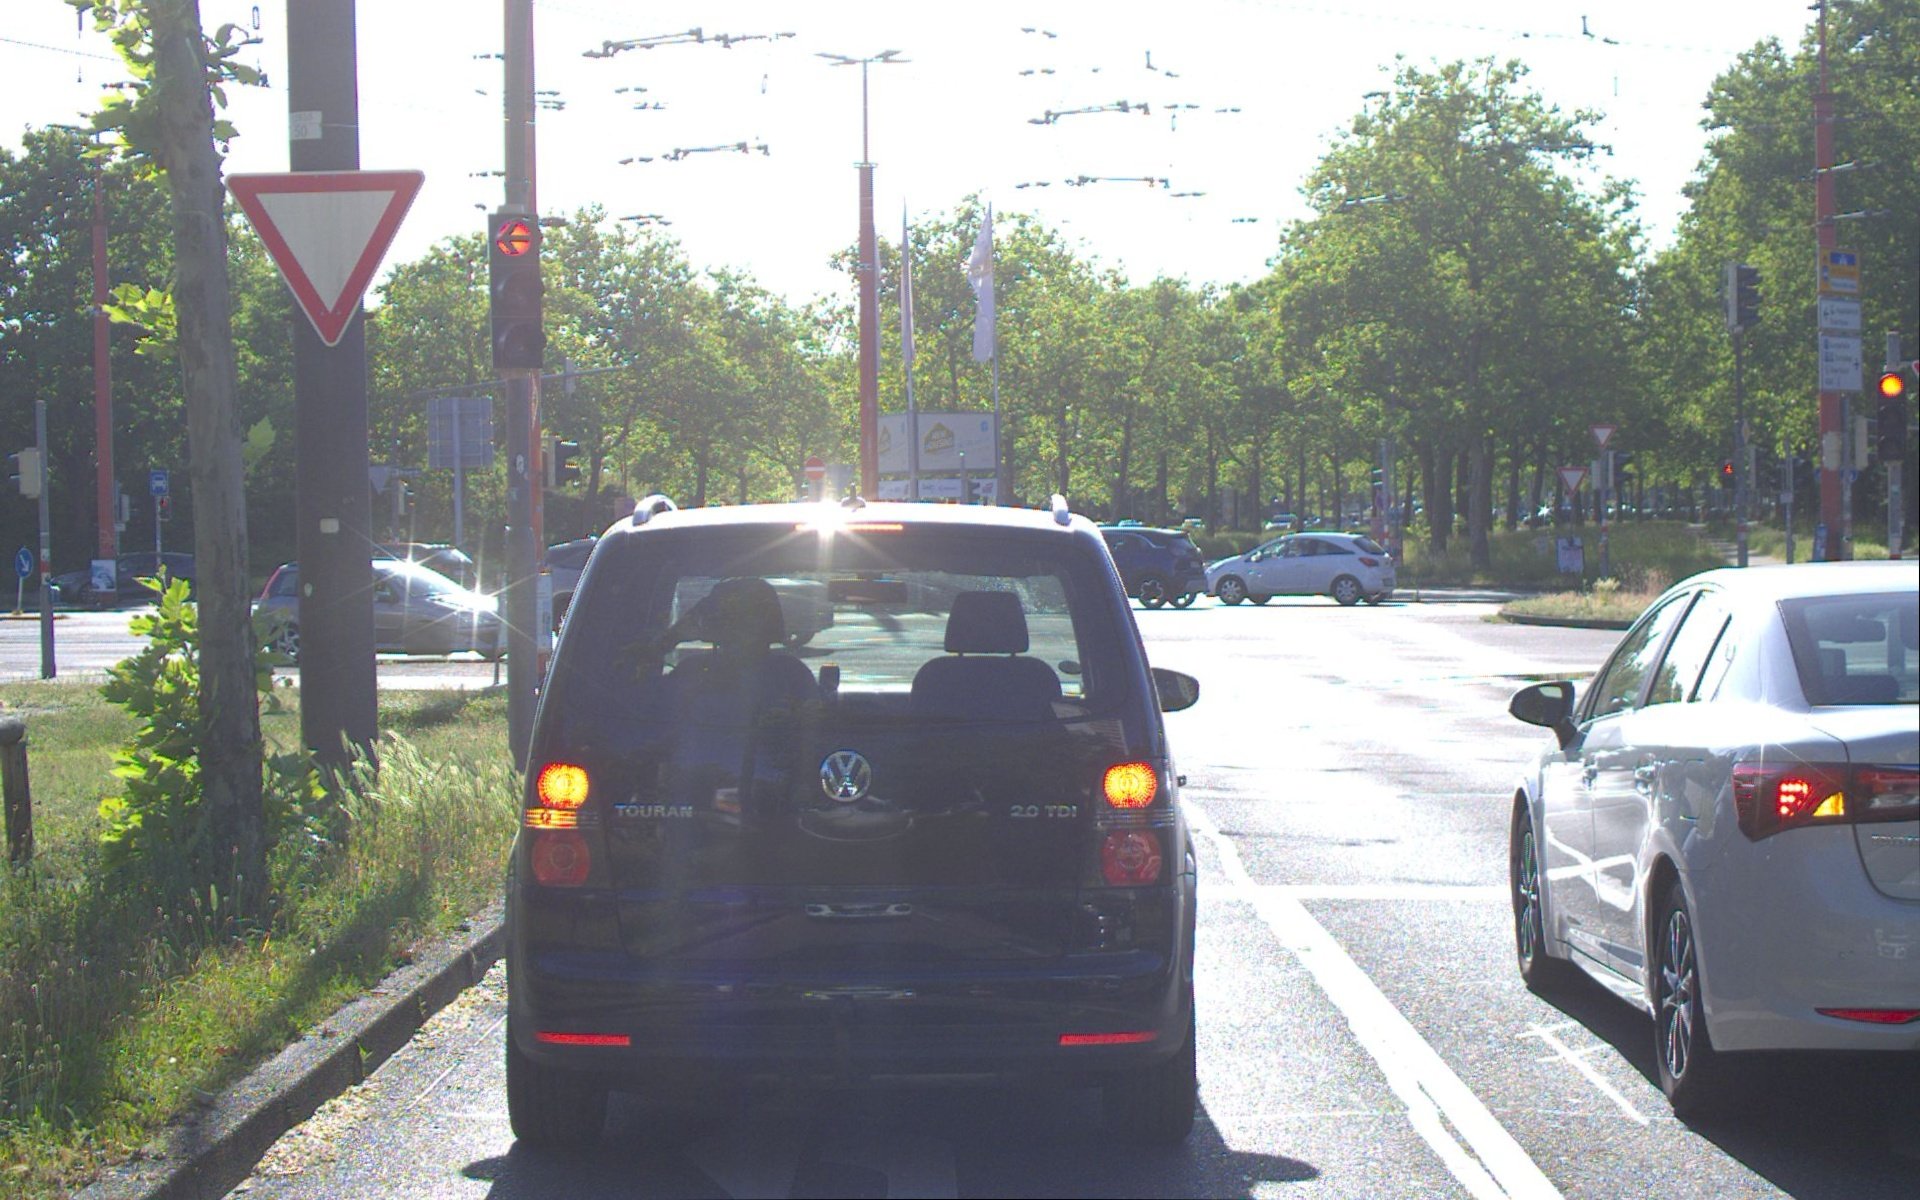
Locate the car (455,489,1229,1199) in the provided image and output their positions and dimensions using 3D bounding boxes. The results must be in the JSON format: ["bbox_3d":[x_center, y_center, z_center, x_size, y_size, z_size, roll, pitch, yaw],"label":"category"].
[{"bbox_3d":[-0.250,0.536,9.971,1.738,1.597,4.326,1,1,1],"label":"car"}]

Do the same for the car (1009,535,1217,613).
[{"bbox_3d":[3.035,-0.531,68.418,3.796,1.505,1.655,1,1,24],"label":"car"}]

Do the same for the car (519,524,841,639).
[{"bbox_3d":[-4.158,-0.301,50.806,4.636,1.641,1.654,1,1,30],"label":"car"}]

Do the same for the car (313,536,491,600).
[{"bbox_3d":[-13.186,-0.770,81.267,3.919,1.452,1.654,1,1,26],"label":"car"}]

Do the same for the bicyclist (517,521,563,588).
[{"bbox_3d":[-11.841,-1.282,97.010,0.977,1.897,1.050,0,1,12],"label":"bicyclist"}]

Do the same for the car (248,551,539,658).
[{"bbox_3d":[-8.025,0.034,48.665,3.835,1.436,1.654,1,1,28],"label":"car"}]

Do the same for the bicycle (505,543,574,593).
[{"bbox_3d":[-11.848,-0.921,96.975,0.977,1.384,2.978,0,1,12],"label":"bicycle"}]

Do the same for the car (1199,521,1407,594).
[{"bbox_3d":[7.041,-0.883,70.549,3.919,1.452,1.654,1,1,26],"label":"car"}]

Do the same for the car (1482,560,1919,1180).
[{"bbox_3d":[2.760,0.616,10.149,1.799,1.435,4.326,1,1,1],"label":"car"}]
